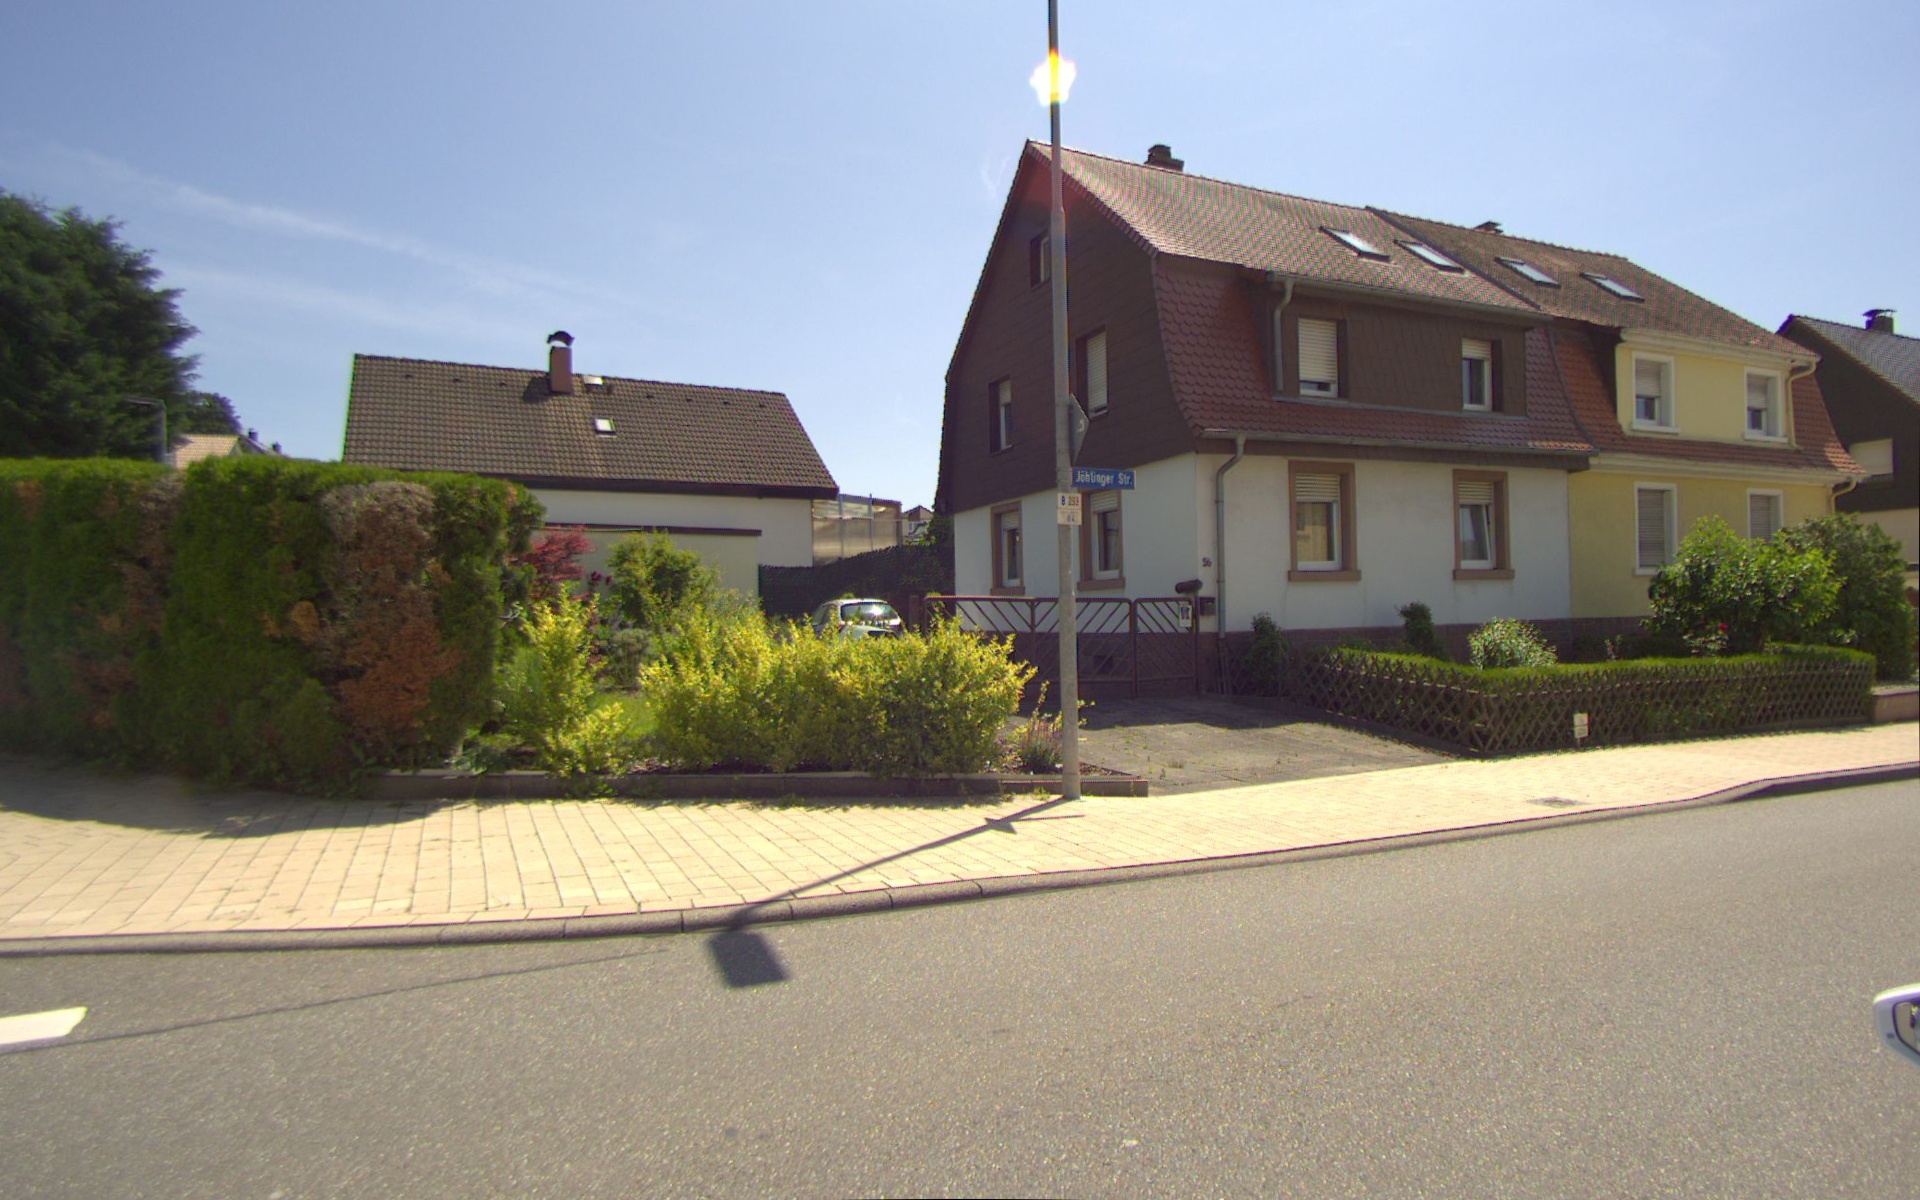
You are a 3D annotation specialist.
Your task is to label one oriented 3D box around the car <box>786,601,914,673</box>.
[{"bbox_3d":[-2.487,0.775,21.893,1.559,1.411,3.776,1,-1,-27],"label":"car"}]
